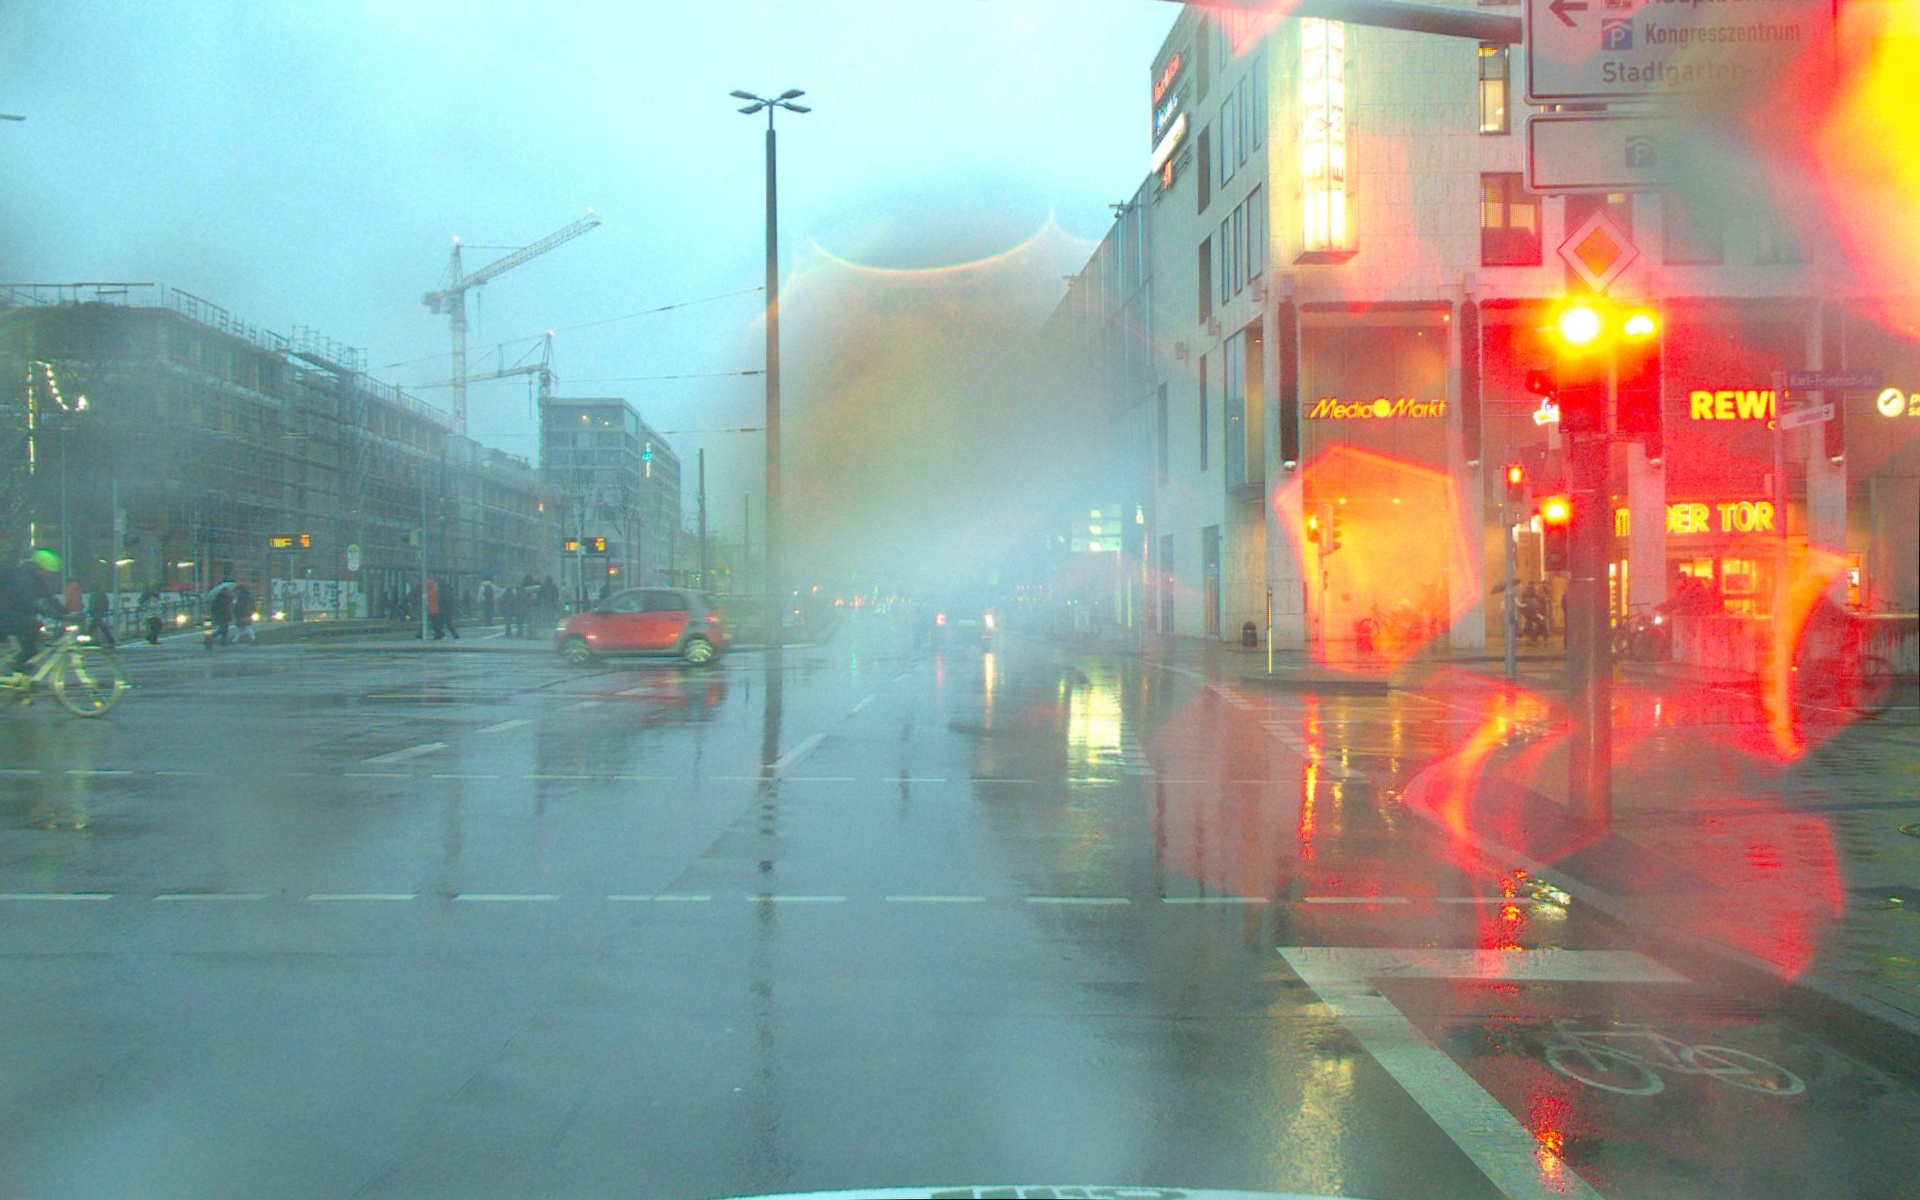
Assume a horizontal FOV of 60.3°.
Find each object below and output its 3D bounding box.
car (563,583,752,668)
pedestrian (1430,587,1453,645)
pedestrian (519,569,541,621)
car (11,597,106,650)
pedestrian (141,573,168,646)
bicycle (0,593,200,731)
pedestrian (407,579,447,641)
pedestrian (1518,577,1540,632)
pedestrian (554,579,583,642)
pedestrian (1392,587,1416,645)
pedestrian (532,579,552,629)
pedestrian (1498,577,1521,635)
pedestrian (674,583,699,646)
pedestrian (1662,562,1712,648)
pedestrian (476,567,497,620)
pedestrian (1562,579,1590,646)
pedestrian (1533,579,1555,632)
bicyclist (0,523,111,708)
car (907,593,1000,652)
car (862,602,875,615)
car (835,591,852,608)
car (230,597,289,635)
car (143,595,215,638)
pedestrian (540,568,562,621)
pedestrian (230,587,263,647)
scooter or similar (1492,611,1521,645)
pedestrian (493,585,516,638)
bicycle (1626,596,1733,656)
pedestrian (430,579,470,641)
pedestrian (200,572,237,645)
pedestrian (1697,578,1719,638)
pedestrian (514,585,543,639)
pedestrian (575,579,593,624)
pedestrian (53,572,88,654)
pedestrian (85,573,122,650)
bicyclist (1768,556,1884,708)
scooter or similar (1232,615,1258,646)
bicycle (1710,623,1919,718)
[{"bbox_3d":[-6.105,0.516,33.669,3.495,1.610,1.677,-1,-1,1],"label":"car"},{"bbox_3d":[14.597,0.484,50.136,0.526,1.748,0.500,-1,0,37],"label":"pedestrian"},{"bbox_3d":[-14.857,-0.176,57.138,0.648,1.776,0.734,-1,0,-11],"label":"pedestrian"},{"bbox_3d":[-37.016,0.939,68.016,1.954,2.049,3.996,-1,0,-5],"label":"car"},{"bbox_3d":[-22.747,0.272,46.712,0.498,2.049,0.638,0,0,-11],"label":"pedestrian"},{"bbox_3d":[-9.534,0.634,17.262,2.779,1.386,0.719,1,-1,-10],"label":"bicycle"},{"bbox_3d":[-14.783,0.282,45.878,0.813,1.709,0.619,-1,0,20],"label":"pedestrian"},{"bbox_3d":[18.278,0.145,53.112,0.526,1.748,0.500,-1,0,37],"label":"pedestrian"},{"bbox_3d":[-11.265,0.294,47.592,0.688,1.791,0.652,-1,0,-1],"label":"pedestrian"},{"bbox_3d":[13.495,0.470,50.255,0.526,1.748,0.500,-1,0,37],"label":"pedestrian"},{"bbox_3d":[-15.140,0.147,59.975,0.599,1.776,0.620,-1,0,-6],"label":"pedestrian"},{"bbox_3d":[16.450,0.181,49.525,0.526,1.748,0.500,-1,0,37],"label":"pedestrian"},{"bbox_3d":[-7.857,0.419,47.571,0.620,1.803,0.483,-1,0,-2],"label":"pedestrian"},{"bbox_3d":[13.990,0.097,31.826,0.764,1.623,0.613,-1,0,14],"label":"pedestrian"},{"bbox_3d":[-15.834,-0.222,55.347,0.600,1.776,0.619,-1,0,-11],"label":"pedestrian"},{"bbox_3d":[15.912,0.331,42.746,0.526,1.715,0.547,-1,0,37],"label":"pedestrian"},{"bbox_3d":[19.360,0.180,54.828,0.526,1.748,0.500,-1,0,37],"label":"pedestrian"},{"bbox_3d":[-9.522,0.161,17.240,0.975,1.871,0.719,1,-1,-10],"label":"bicyclist"},{"bbox_3d":[-0.238,0.603,46.630,1.939,1.557,3.989,-1,0,-11],"label":"car"},{"bbox_3d":[-13.327,1.214,241.030,1.850,1.814,3.713,1,-1,-1],"label":"car"},{"bbox_3d":[-14.734,-0.079,209.716,1.953,2.049,3.999,1,-1,-1],"label":"car"},{"bbox_3d":[-39.166,0.885,92.544,1.955,2.049,3.995,-1,0,-6],"label":"car"},{"bbox_3d":[-38.092,0.793,80.771,1.955,2.049,3.994,-1,0,-6],"label":"car"},{"bbox_3d":[-13.853,-0.177,56.022,0.607,1.776,0.612,-1,0,-6],"label":"pedestrian"},{"bbox_3d":[-19.916,0.464,46.186,0.694,1.647,0.679,-1,0,-10],"label":"pedestrian"},{"bbox_3d":[16.363,0.833,49.486,0.726,1.011,0.400,-1,0,0],"label":"scooter or similar"},{"bbox_3d":[-14.132,0.357,51.327,0.600,1.647,0.707,-1,0,-11],"label":"pedestrian"},{"bbox_3d":[13.839,0.500,31.850,1.806,1.112,0.618,-1,0,14],"label":"bicycle"},{"bbox_3d":[-14.317,0.280,46.421,0.825,1.718,0.677,-1,0,22],"label":"pedestrian"},{"bbox_3d":[-21.064,0.249,46.993,0.778,2.049,0.745,-1,0,-11],"label":"pedestrian"},{"bbox_3d":[22.407,0.236,49.573,0.501,1.791,0.374,-1,0,11],"label":"pedestrian"},{"bbox_3d":[-13.320,0.363,51.037,0.729,1.635,0.811,-1,0,-7],"label":"pedestrian"},{"bbox_3d":[-14.965,0.063,65.856,0.648,1.776,0.619,-1,0,-11],"label":"pedestrian"},{"bbox_3d":[-23.345,0.327,43.388,0.682,2.124,0.604,0,0,-41],"label":"pedestrian"},{"bbox_3d":[-22.830,0.304,44.103,0.770,2.049,0.604,-1,0,-39],"label":"pedestrian"},{"bbox_3d":[10.121,0.368,19.343,1.012,1.726,0.618,-1,0,1],"label":"bicyclist"},{"bbox_3d":[8.863,0.938,51.388,0.726,0.932,0.400,-1,0,0],"label":"scooter or similar"},{"bbox_3d":[10.080,0.812,19.336,2.323,1.051,0.618,-1,0,1],"label":"bicycle"}]
